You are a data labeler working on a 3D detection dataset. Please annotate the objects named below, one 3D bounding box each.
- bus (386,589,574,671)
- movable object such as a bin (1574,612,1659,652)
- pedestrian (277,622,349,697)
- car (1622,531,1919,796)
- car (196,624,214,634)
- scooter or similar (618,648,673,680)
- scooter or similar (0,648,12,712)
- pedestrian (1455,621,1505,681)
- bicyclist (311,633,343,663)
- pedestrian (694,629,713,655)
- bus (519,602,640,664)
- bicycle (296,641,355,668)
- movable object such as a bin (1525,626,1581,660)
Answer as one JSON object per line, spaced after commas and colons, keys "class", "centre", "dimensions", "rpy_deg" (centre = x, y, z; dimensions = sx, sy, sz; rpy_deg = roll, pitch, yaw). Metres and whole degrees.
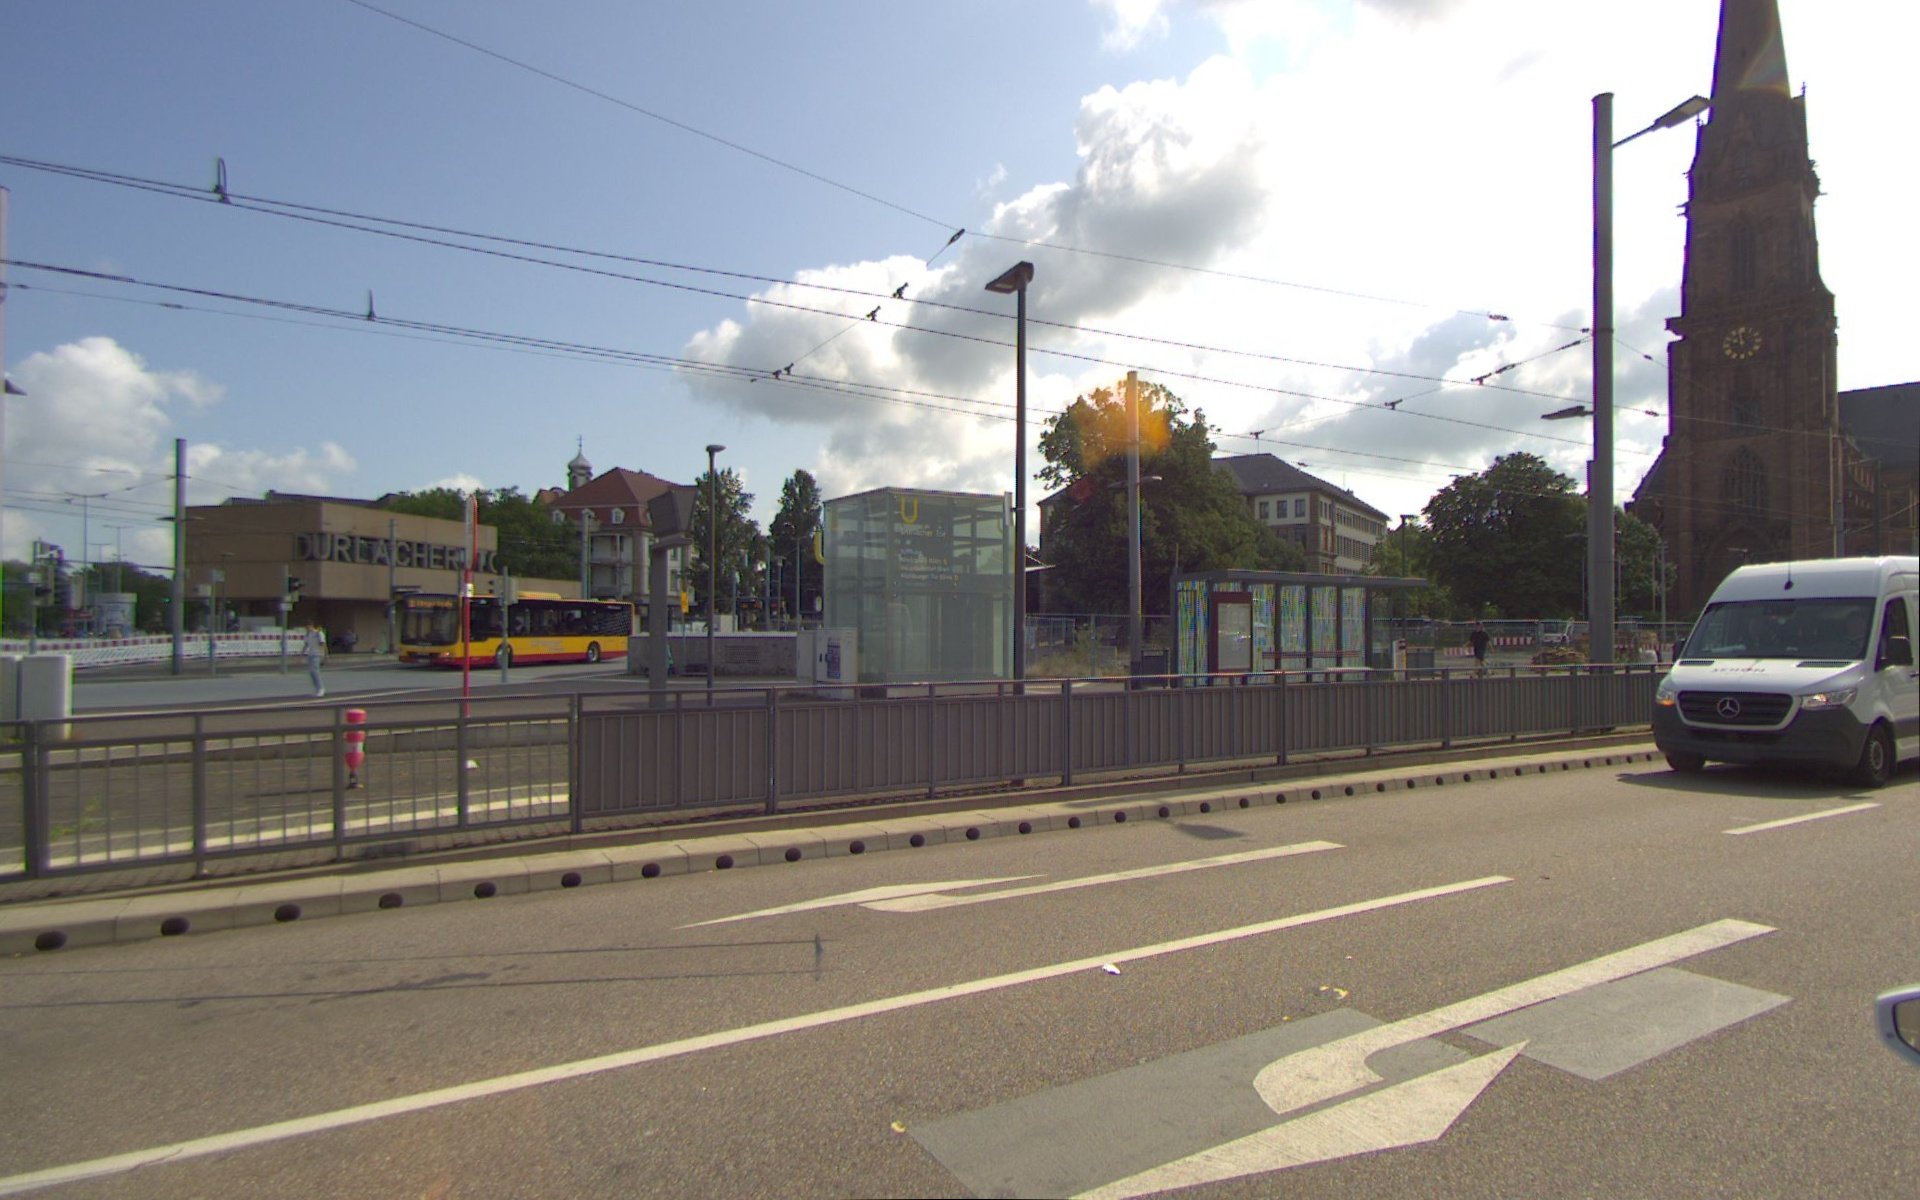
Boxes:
{"class": "bus", "centre": [-18.277, 1.171, 38.877], "dimensions": [2.646, 2.871, 7.105], "rpy_deg": [0, -2, 14]}
{"class": "movable object such as a bin", "centre": [48.175, 2.331, 73.821], "dimensions": [1.976, 2.839, 4.882], "rpy_deg": [1, -2, -29]}
{"class": "pedestrian", "centre": [-15.327, 1.394, 23.821], "dimensions": [0.911, 1.712, 1.098], "rpy_deg": [1, 0, 11]}
{"class": "car", "centre": [10.673, 0.741, 12.376], "dimensions": [5.516, 2.656, 1.984], "rpy_deg": [2, -3, -31]}
{"class": "car", "centre": [-122.761, 4.655, 163.351], "dimensions": [1.979, 1.589, 4.739], "rpy_deg": [1, -2, -33]}
{"class": "scooter or similar", "centre": [-9.750, 1.964, 31.162], "dimensions": [1.630, 0.962, 0.474], "rpy_deg": [0, -1, 15]}
{"class": "scooter or similar", "centre": [-18.734, 1.480, 18.492], "dimensions": [1.477, 1.204, 1.329], "rpy_deg": [6, -2, -28]}
{"class": "pedestrian", "centre": [16.512, 1.602, 31.915], "dimensions": [1.032, 1.824, 0.994], "rpy_deg": [-1, 1, -24]}
{"class": "bicyclist", "centre": [-26.739, 2.020, 42.441], "dimensions": [0.683, 1.167, 0.739], "rpy_deg": [4, -4, 12]}
{"class": "pedestrian", "centre": [-15.096, 2.473, 59.085], "dimensions": [0.794, 1.542, 0.840], "rpy_deg": [1, -2, -42]}
{"class": "bus", "centre": [-16.840, 1.466, 44.816], "dimensions": [2.647, 2.621, 5.081], "rpy_deg": [0, -2, 13]}
{"class": "bicycle", "centre": [-26.755, 2.321, 42.418], "dimensions": [0.796, 1.005, 2.072], "rpy_deg": [4, -4, 12]}
{"class": "movable object such as a bin", "centre": [41.048, 2.954, 69.500], "dimensions": [4.235, 2.235, 1.978], "rpy_deg": [1, -2, -39]}
